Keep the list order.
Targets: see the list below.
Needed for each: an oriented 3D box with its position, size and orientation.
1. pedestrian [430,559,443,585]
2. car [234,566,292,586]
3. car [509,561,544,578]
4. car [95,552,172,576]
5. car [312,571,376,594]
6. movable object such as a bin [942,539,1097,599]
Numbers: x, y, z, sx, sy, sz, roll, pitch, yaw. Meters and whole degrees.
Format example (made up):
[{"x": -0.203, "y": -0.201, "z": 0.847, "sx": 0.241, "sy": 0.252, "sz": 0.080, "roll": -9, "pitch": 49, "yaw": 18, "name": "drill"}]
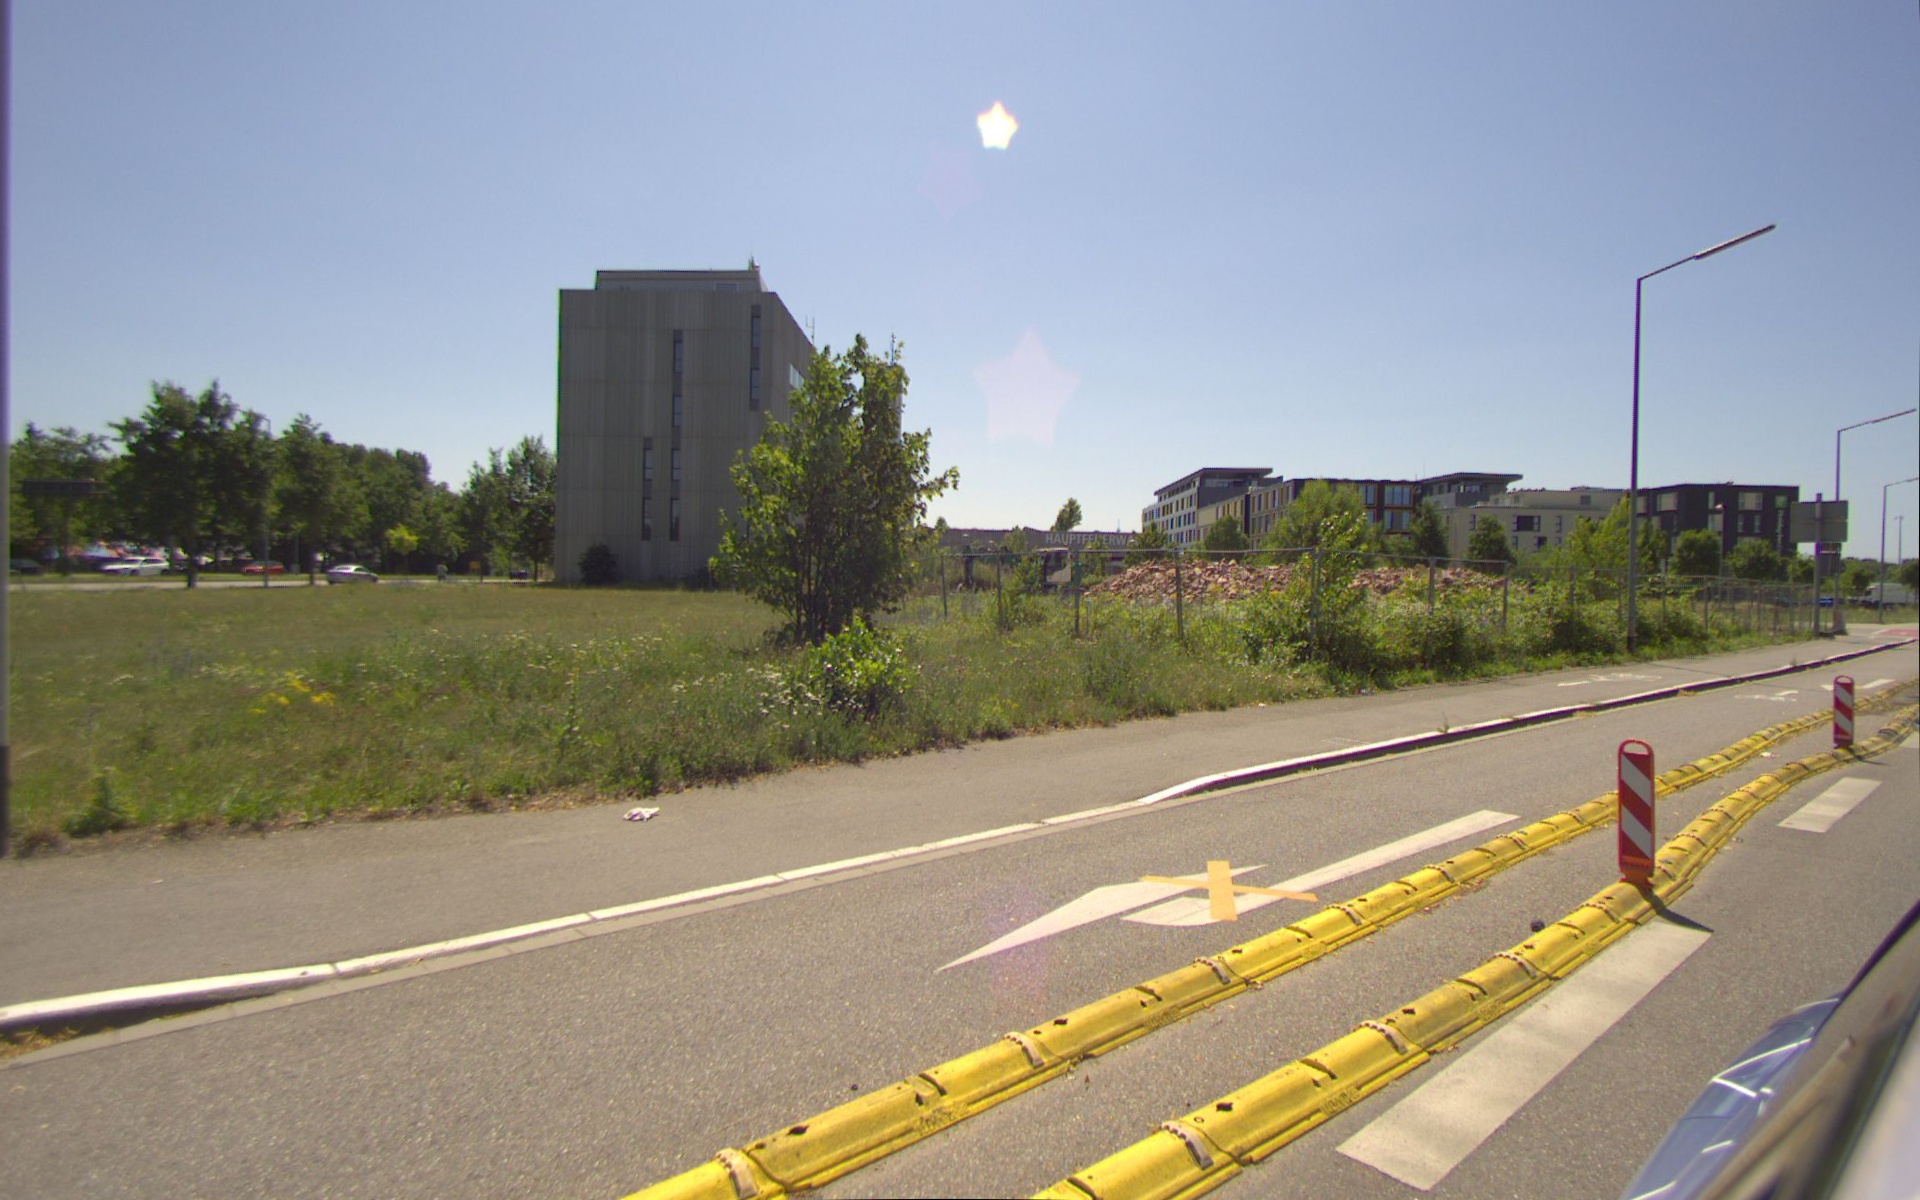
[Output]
[{"x": -33.808, "y": -1.809, "z": 65.381, "sx": 0.652, "sy": 1.611, "sz": 0.557, "roll": 0, "pitch": 0, "yaw": -15, "name": "pedestrian"}, {"x": -58.905, "y": -1.988, "z": 85.629, "sx": 1.814, "sy": 1.612, "sz": 4.415, "roll": 0, "pitch": 0, "yaw": 1, "name": "car"}, {"x": -48.174, "y": -3.374, "z": 112.639, "sx": 1.960, "sy": 1.757, "sz": 5.334, "roll": 0, "pitch": 0, "yaw": -4, "name": "car"}, {"x": -58.607, "y": -2.537, "z": 71.886, "sx": 1.814, "sy": 1.612, "sz": 4.444, "roll": 0, "pitch": 0, "yaw": 1, "name": "car"}, {"x": -43.104, "y": -1.233, "z": 70.958, "sx": 1.961, "sy": 1.546, "sz": 4.423, "roll": 1, "pitch": 1, "yaw": -3, "name": "car"}, {"x": 3.155, "y": -1.591, "z": 53.317, "sx": 7.537, "sy": 2.952, "sz": 3.242, "roll": -1, "pitch": 0, "yaw": -26, "name": "movable object such as a bin"}]
